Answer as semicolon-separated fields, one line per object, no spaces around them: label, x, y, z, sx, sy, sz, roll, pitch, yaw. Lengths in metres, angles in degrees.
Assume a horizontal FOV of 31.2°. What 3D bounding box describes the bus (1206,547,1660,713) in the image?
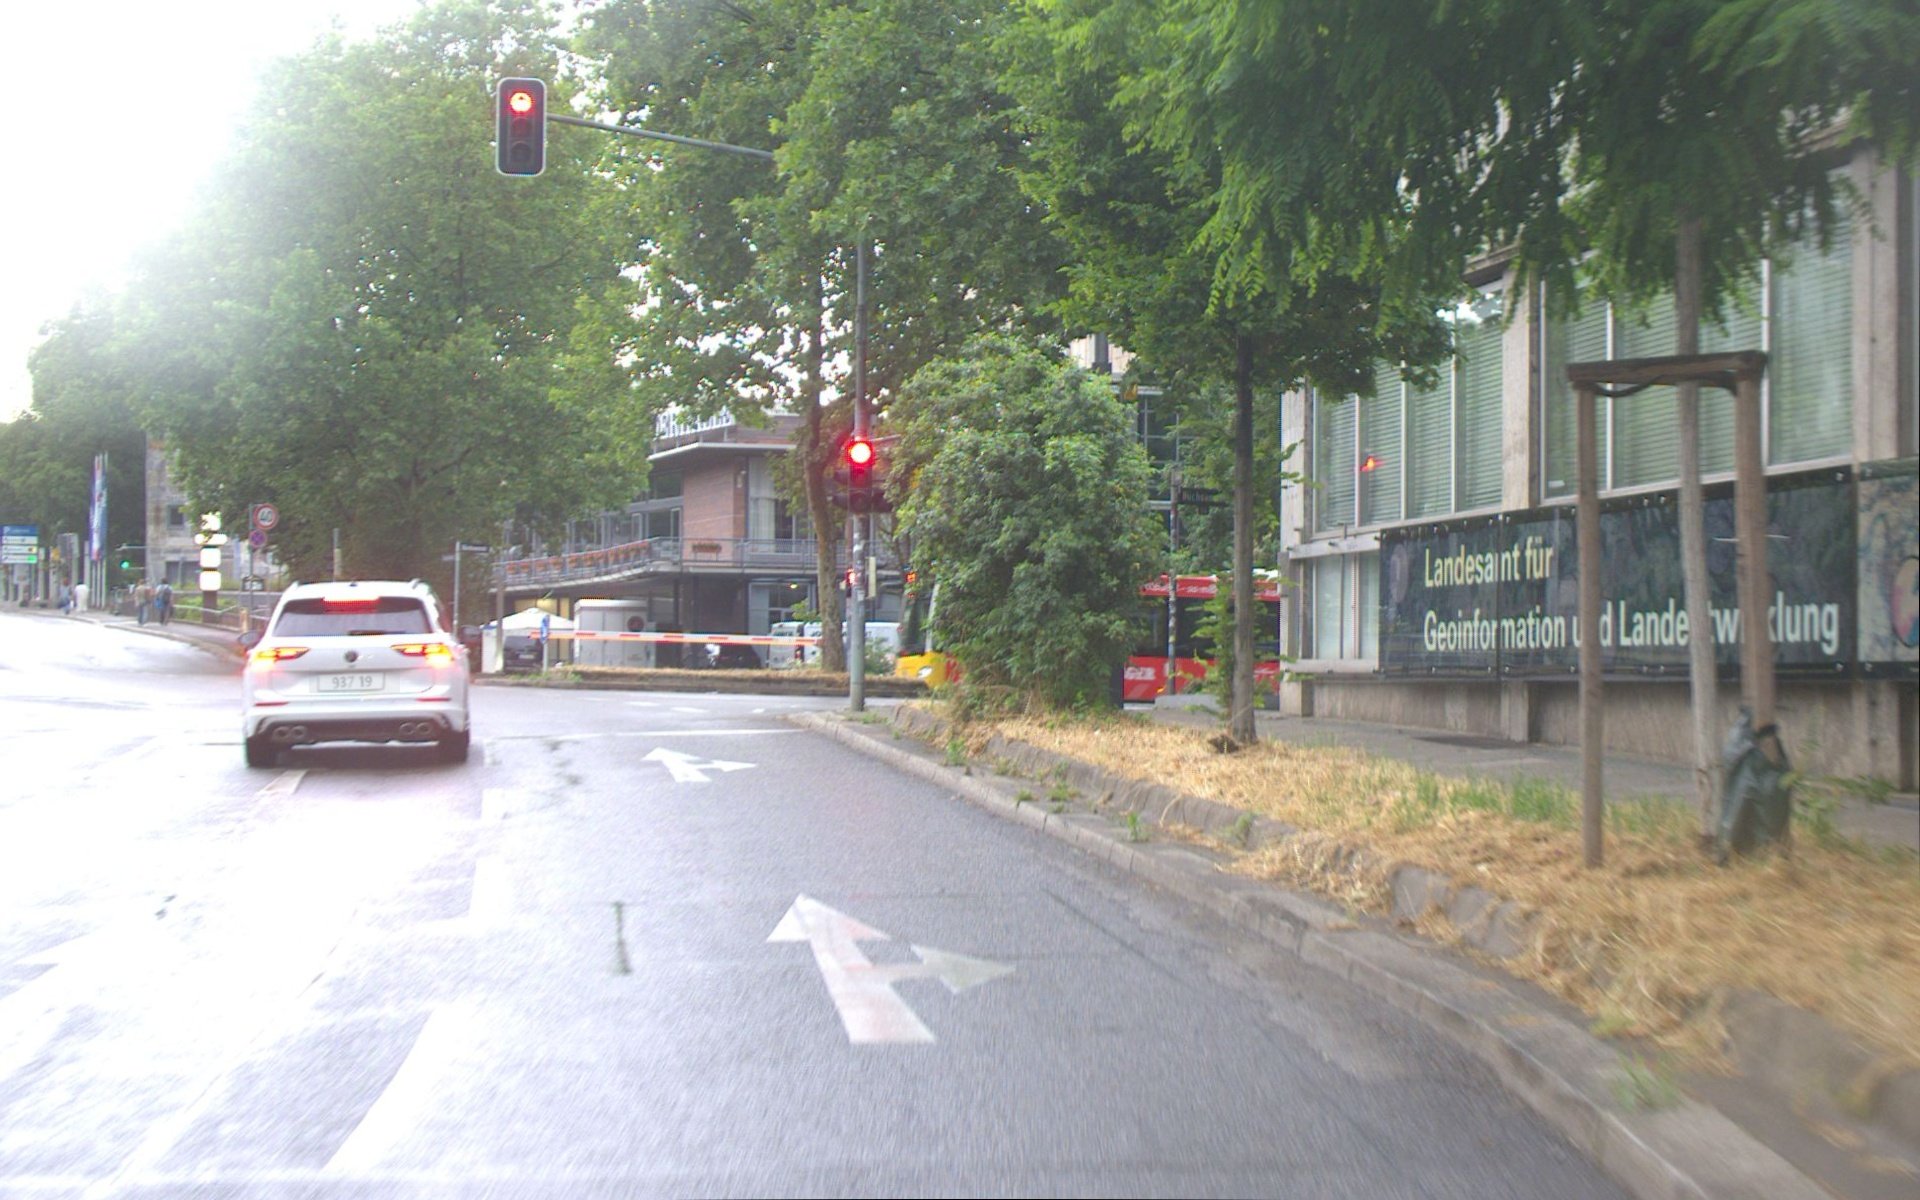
bus;10.027;0.663;72.789;9.151;3.100;2.664;3;-1;-17

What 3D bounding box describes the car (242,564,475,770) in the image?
car;-4.897;0.490;28.399;1.678;1.571;4.254;0;0;-7

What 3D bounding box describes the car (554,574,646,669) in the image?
car;-12.474;0.750;118.836;2.544;3.123;5.032;2;-1;-12

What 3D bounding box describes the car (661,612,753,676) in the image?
car;-8.347;1.439;113.162;1.993;2.007;4.001;3;-1;-19

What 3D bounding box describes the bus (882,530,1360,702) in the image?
bus;3.330;0.368;70.801;9.421;3.100;2.559;3;-1;-17

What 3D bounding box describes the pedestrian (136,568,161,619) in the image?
pedestrian;-29.510;-0.229;125.030;0.756;1.817;0.701;3;-1;-20
